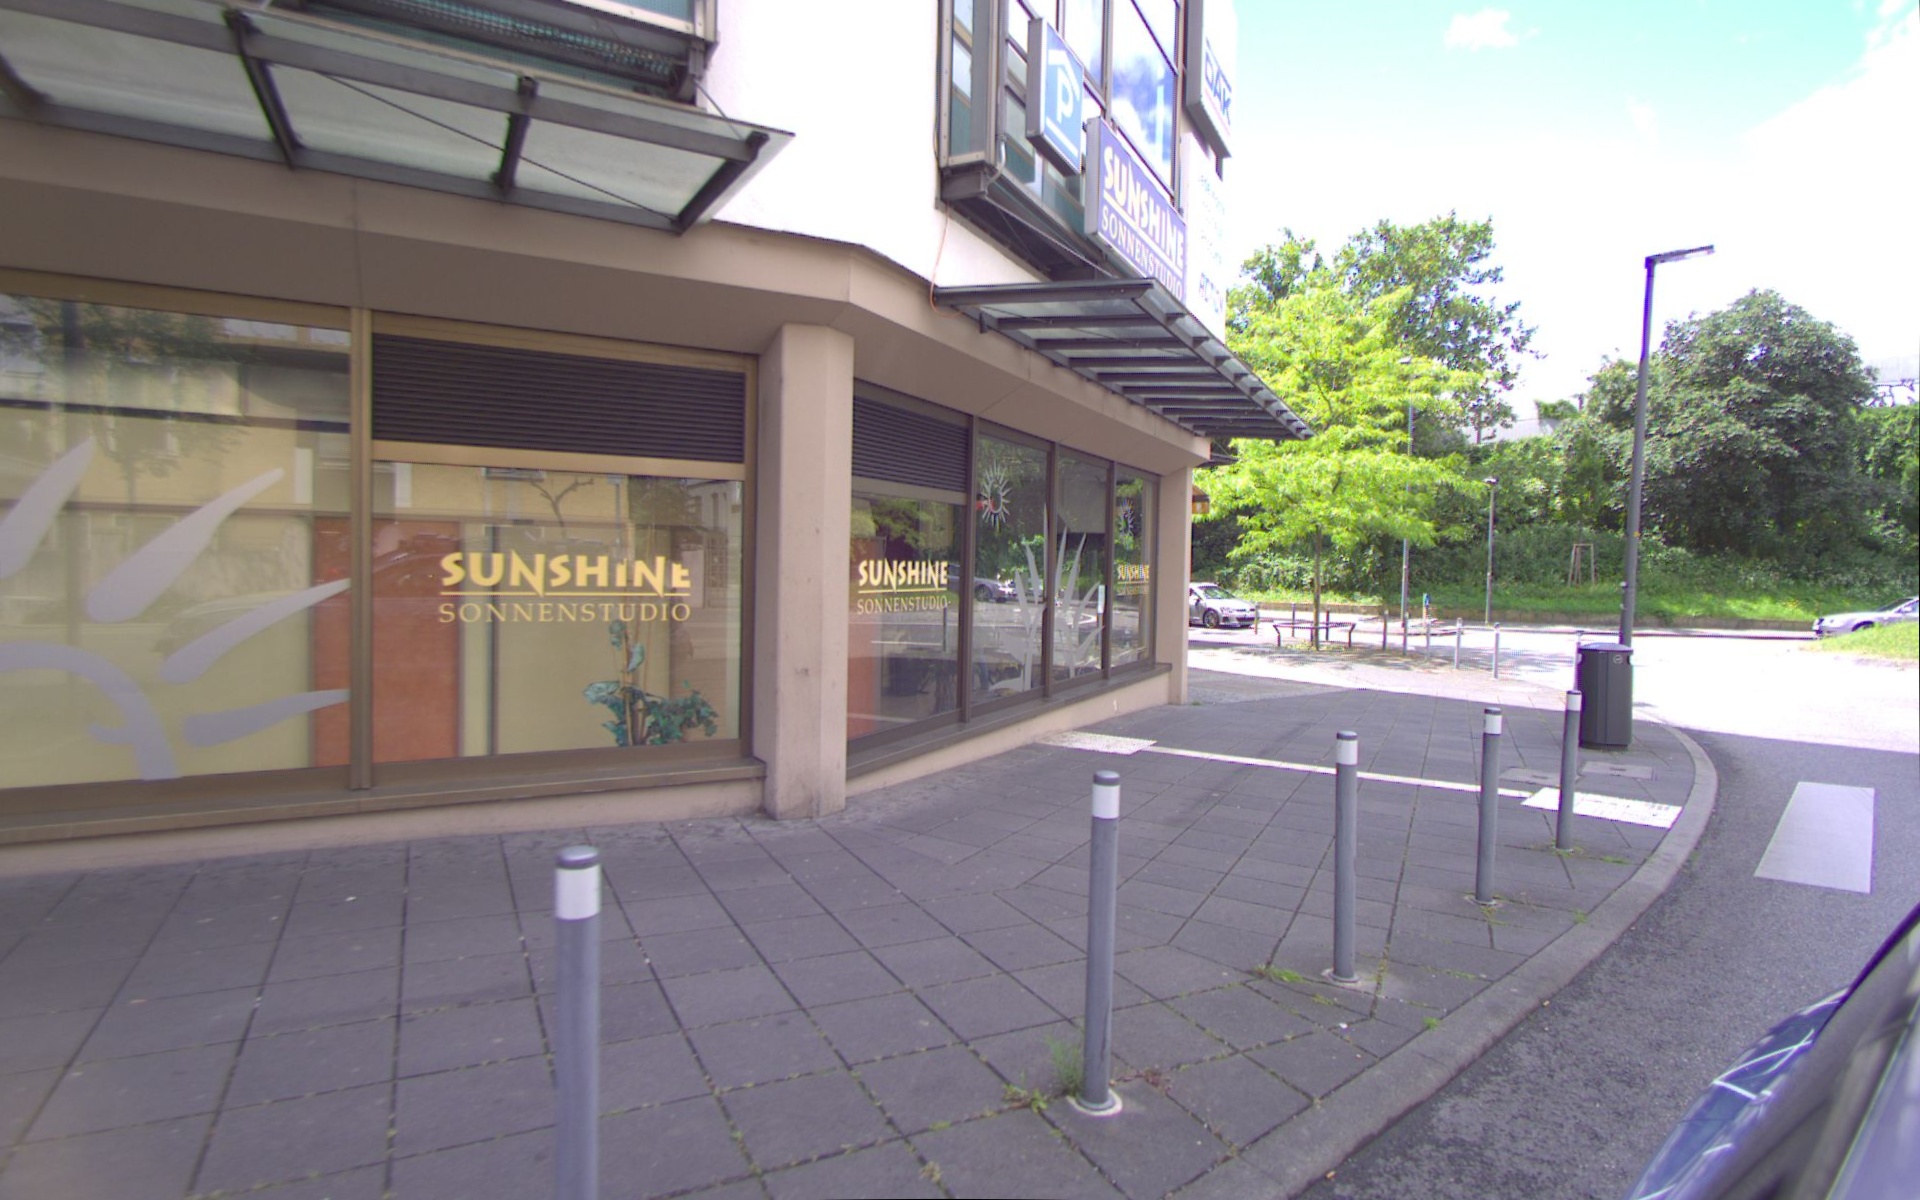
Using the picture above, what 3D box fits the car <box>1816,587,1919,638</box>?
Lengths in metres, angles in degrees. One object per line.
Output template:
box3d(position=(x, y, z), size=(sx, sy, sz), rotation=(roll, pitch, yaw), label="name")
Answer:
box3d(position=(26.820, 0.343, 28.370), size=(3.962, 1.371, 1.699), rotation=(1, 1, 27), label="car")

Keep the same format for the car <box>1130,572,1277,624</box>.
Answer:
box3d(position=(8.059, -0.124, 33.824), size=(1.964, 1.526, 4.583), rotation=(-2, 3, -37), label="car")
